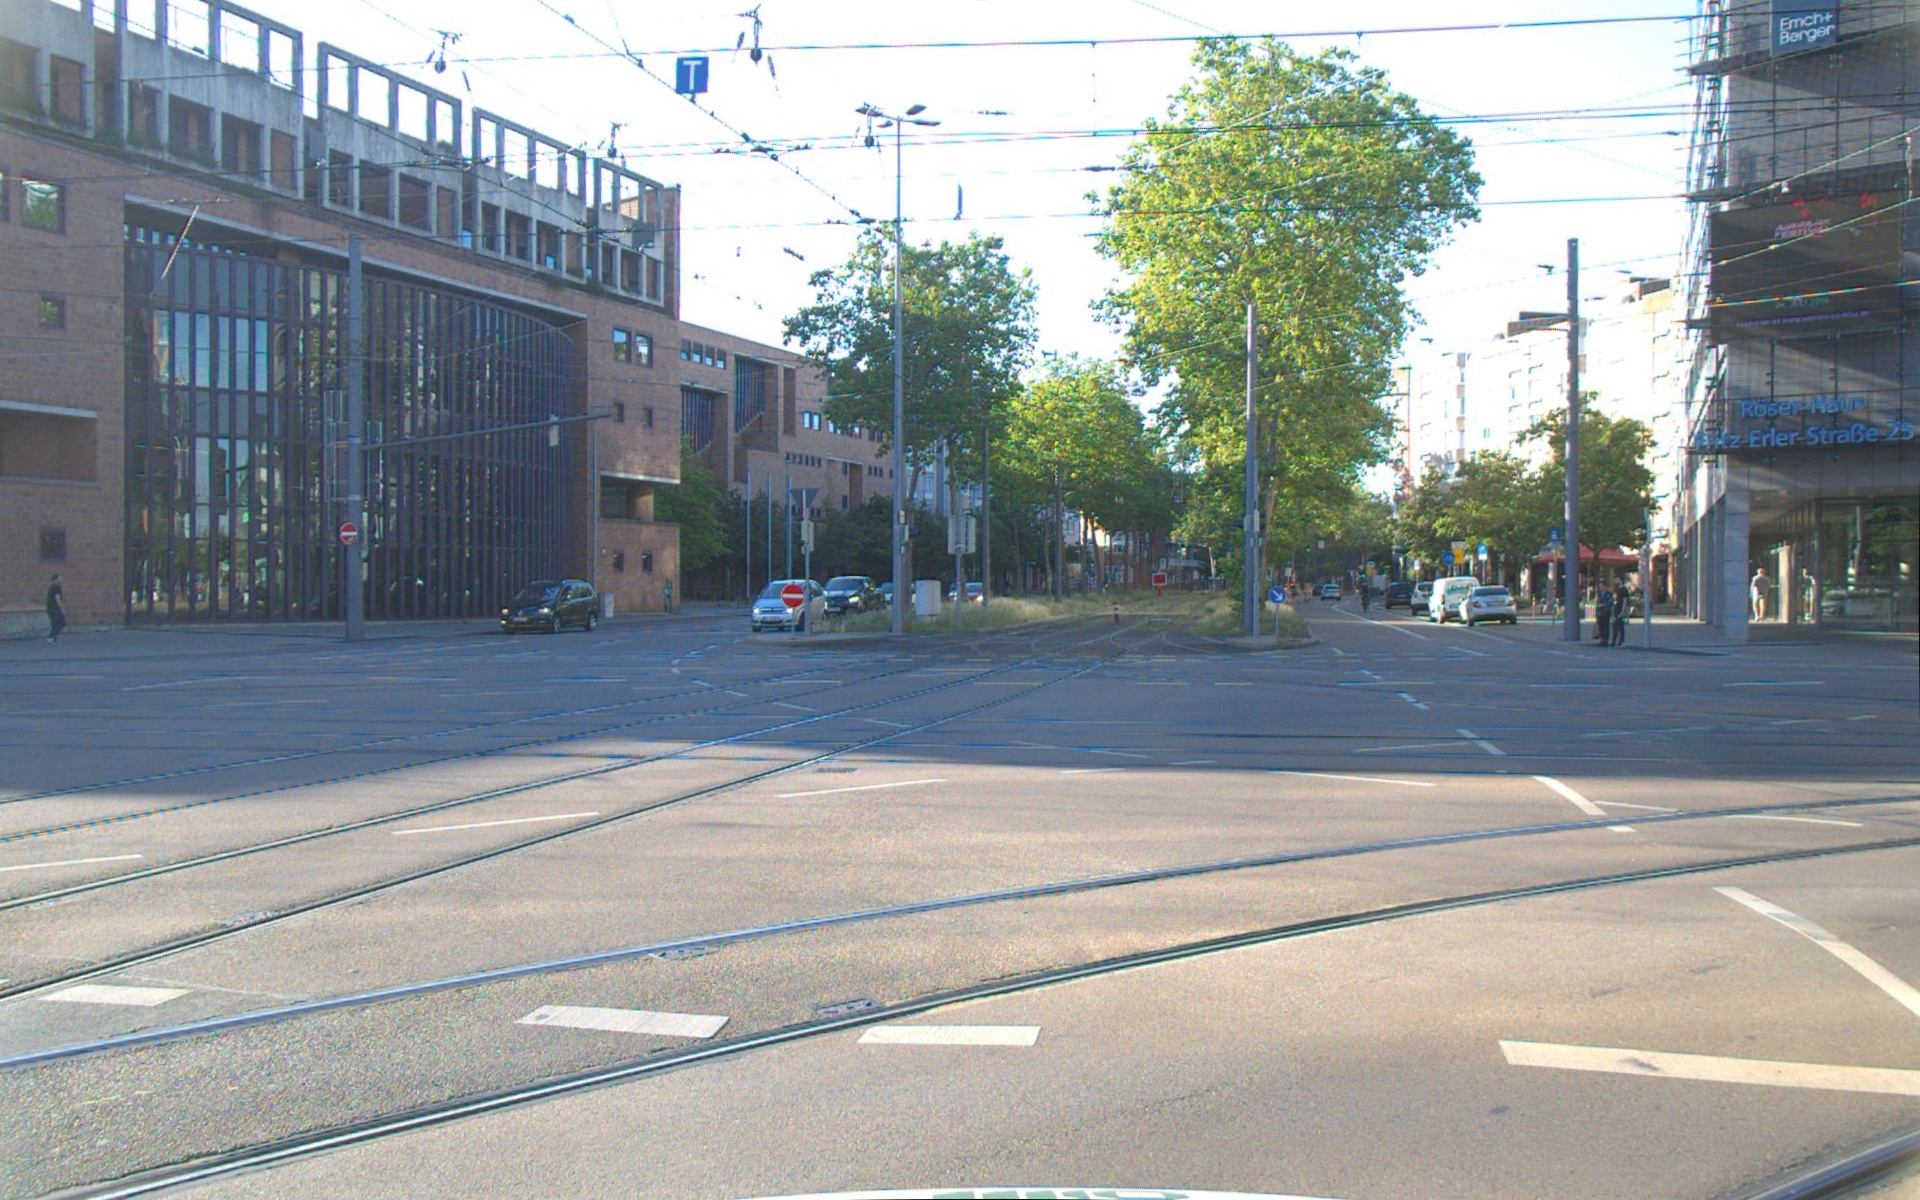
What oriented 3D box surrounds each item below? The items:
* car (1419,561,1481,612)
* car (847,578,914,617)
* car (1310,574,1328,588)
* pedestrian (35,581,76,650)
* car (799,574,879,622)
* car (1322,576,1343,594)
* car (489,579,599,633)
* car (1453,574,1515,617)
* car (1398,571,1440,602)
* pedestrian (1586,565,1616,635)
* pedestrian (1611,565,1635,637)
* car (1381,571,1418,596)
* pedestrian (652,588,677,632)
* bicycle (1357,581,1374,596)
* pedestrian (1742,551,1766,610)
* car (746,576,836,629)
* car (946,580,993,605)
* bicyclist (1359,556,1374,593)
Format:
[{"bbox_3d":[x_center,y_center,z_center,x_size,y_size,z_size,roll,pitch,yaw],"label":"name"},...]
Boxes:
[{"bbox_3d":[20.542,-0.565,69.489,1.951,2.049,4.389,0,1,9],"label":"car"},{"bbox_3d":[-3.274,-0.130,68.719,1.814,1.579,4.329,0,1,11],"label":"car"},{"bbox_3d":[39.884,-2.125,183.562,1.814,1.579,4.329,0,1,14],"label":"car"},{"bbox_3d":[-23.292,0.390,42.601,0.816,1.746,0.655,-1,1,-39],"label":"pedestrian"},{"bbox_3d":[-4.379,-0.104,60.520,1.814,1.679,4.329,0,1,11],"label":"car"},{"bbox_3d":[34.226,-1.379,152.044,1.814,1.579,4.329,0,1,14],"label":"car"},{"bbox_3d":[-13.784,0.175,55.107,1.794,1.683,4.505,-1,1,11],"label":"car"},{"bbox_3d":[19.843,-0.201,62.726,1.814,1.579,4.329,0,1,12],"label":"car"},{"bbox_3d":[23.476,-0.706,84.696,1.814,1.579,4.329,0,1,12],"label":"car"},{"bbox_3d":[17.060,-0.003,44.027,0.532,1.855,0.589,0,0,-5],"label":"pedestrian"},{"bbox_3d":[17.269,0.015,43.086,0.366,1.855,0.546,0,0,-5],"label":"pedestrian"},{"bbox_3d":[28.130,-1.049,105.943,2.214,1.579,4.329,0,1,14],"label":"car"},{"bbox_3d":[-13.714,0.457,76.710,0.884,2.049,0.753,0,1,44],"label":"pedestrian"},{"bbox_3d":[22.635,-0.636,92.262,0.801,0.788,1.731,0,1,19],"label":"bicycle"},{"bbox_3d":[27.614,-0.671,57.531,0.659,2.049,0.515,0,0,14],"label":"pedestrian"},{"bbox_3d":[-5.397,0.040,53.316,1.693,1.625,4.329,0,1,11],"label":"car"},{"bbox_3d":[0.473,-0.389,84.968,1.807,1.243,3.992,0,1,-9],"label":"car"},{"bbox_3d":[22.701,-1.405,92.403,0.736,2.049,0.744,1,1,19],"label":"bicyclist"}]
